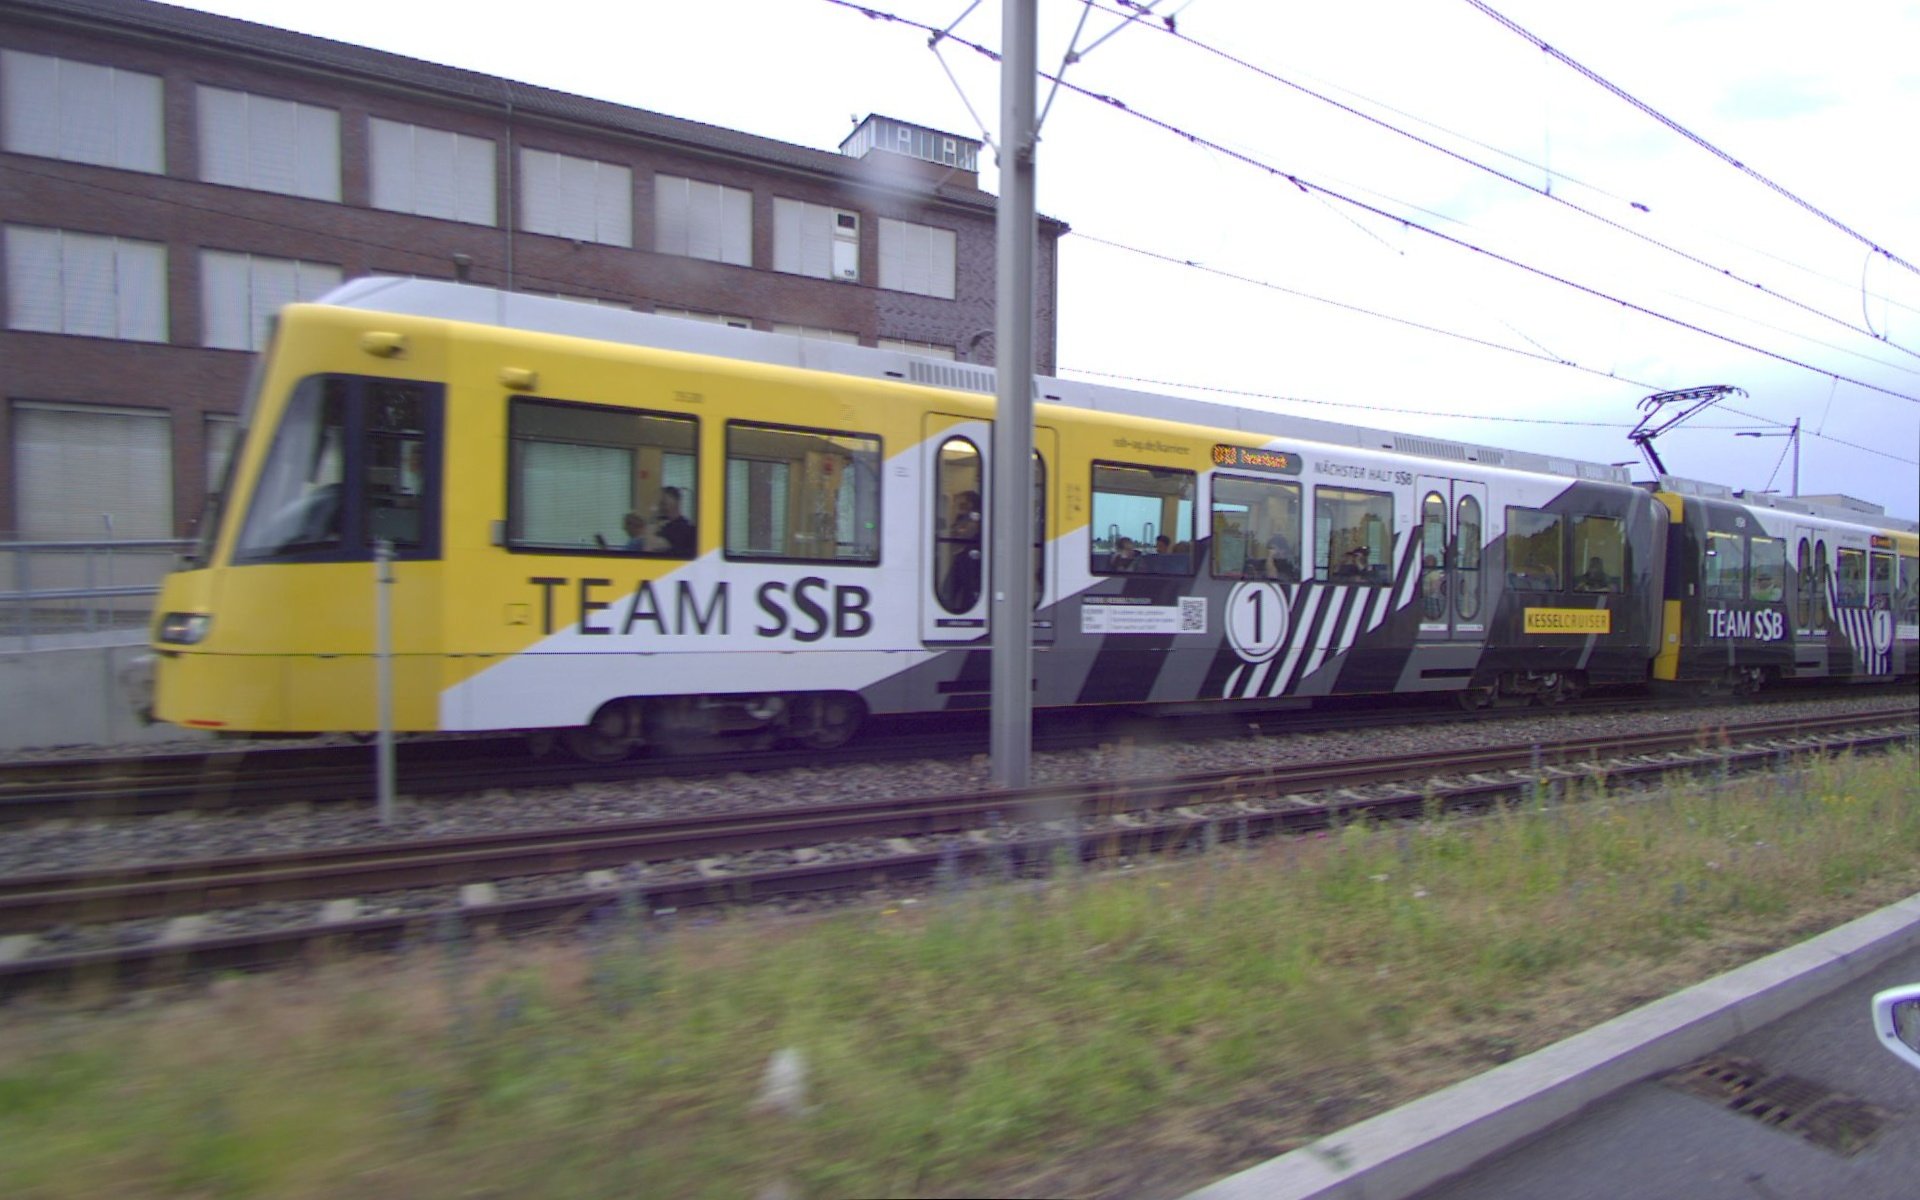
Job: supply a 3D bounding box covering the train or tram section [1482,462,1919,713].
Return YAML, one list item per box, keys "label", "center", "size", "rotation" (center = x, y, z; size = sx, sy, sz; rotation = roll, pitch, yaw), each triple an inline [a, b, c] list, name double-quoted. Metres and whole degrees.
- label: "train or tram section"
  center: [18.478, -0.070, 22.007]
  size: [19.069, 3.938, 2.940]
  rotation: [1, 1, -31]

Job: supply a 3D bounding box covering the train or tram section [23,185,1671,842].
- label: "train or tram section"
  center: [2.025, -0.378, 12.193]
  size: [19.341, 3.938, 2.941]
  rotation: [1, 1, -30]
